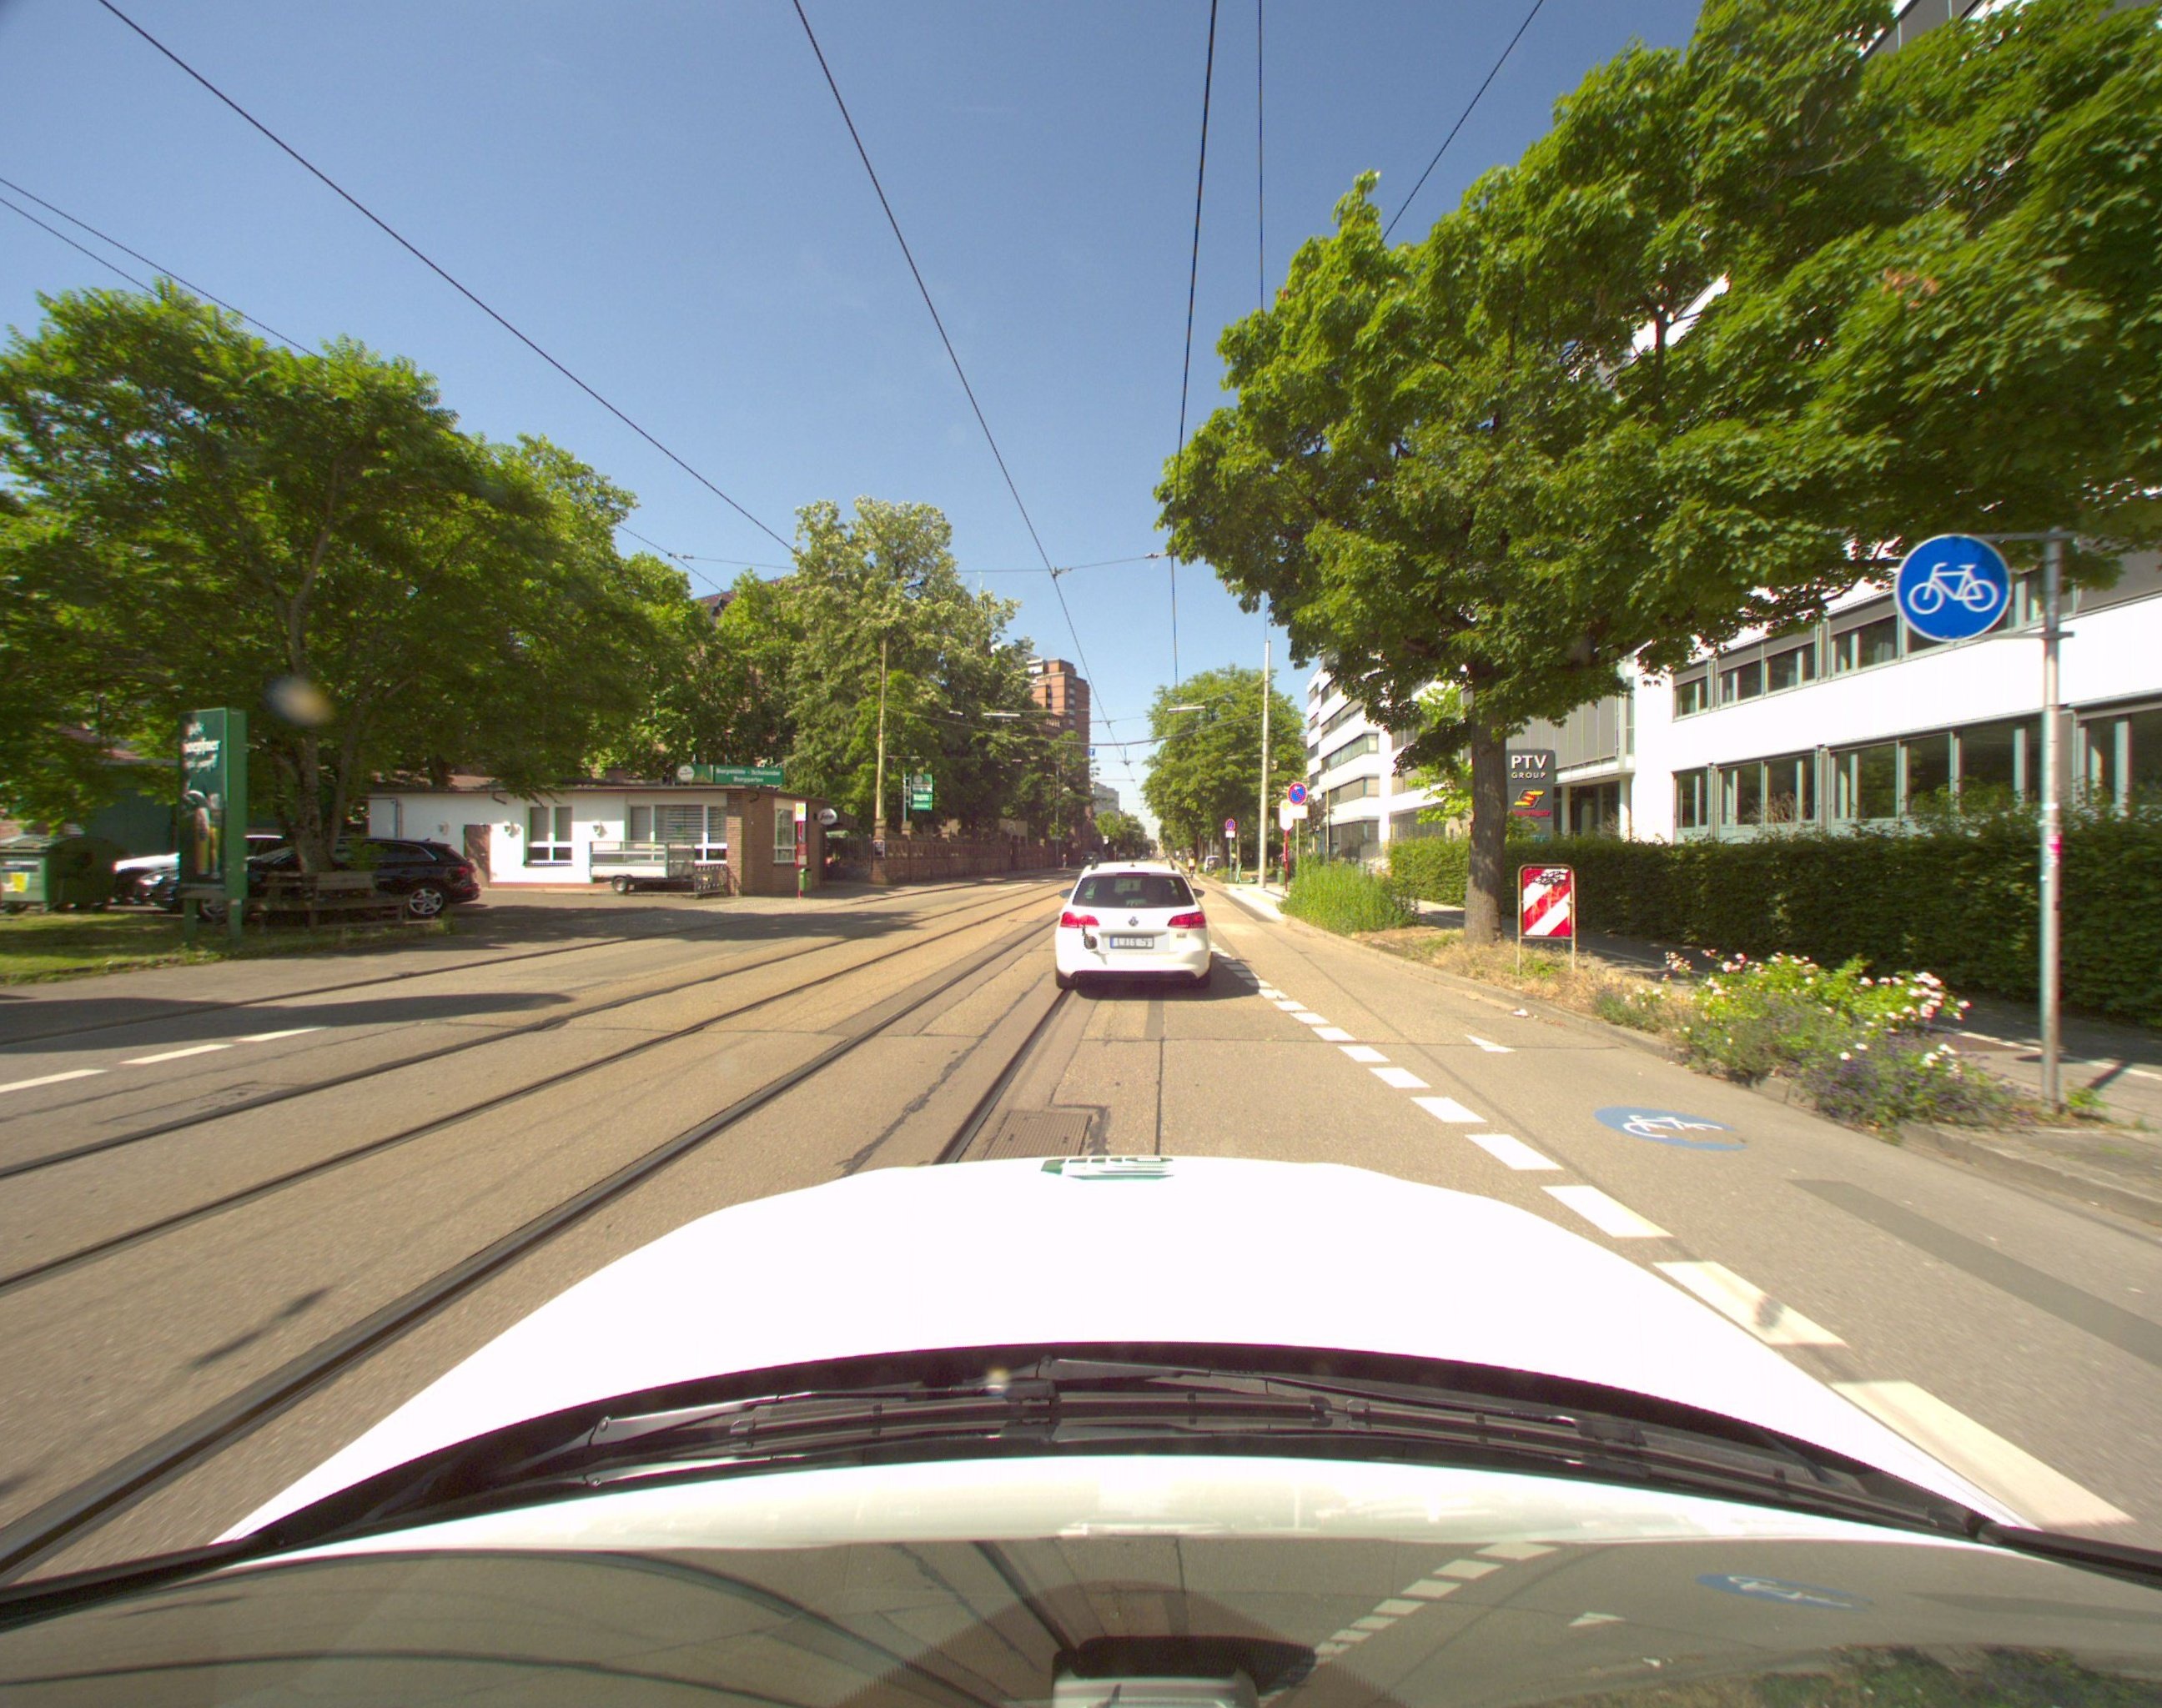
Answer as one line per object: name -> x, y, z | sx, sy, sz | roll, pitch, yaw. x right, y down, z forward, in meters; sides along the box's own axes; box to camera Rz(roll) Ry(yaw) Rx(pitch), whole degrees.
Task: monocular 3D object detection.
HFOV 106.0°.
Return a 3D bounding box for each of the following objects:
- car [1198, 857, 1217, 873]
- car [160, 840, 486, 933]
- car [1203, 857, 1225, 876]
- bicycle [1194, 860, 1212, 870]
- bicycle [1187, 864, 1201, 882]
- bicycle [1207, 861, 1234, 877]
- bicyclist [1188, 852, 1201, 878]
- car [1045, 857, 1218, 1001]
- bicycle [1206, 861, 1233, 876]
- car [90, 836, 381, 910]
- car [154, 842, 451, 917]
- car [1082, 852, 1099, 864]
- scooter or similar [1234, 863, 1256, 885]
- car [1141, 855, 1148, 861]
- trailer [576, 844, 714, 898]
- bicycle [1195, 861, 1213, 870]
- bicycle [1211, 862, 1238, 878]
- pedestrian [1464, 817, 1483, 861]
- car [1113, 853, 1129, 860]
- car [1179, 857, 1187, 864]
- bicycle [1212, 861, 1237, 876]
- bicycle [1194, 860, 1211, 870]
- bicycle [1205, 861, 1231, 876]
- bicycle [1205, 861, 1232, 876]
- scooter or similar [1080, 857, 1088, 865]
car -> 12.141, 1.037, 78.187 | 1.655, 1.444, 4.642 | 0, 0, 7
car -> -14.954, 0.578, 16.477 | 4.602, 1.625, 1.927 | 1, 0, -40
car -> 10.842, 1.011, 66.348 | 1.582, 1.451, 3.953 | 0, 0, 7
bicycle -> 12.770, 1.181, 85.060 | 1.781, 1.010, 0.488 | 0, -1, 1
bicycle -> 7.087, 1.187, 51.004 | 0.807, 1.078, 2.016 | 1, 0, 7
bicycle -> 10.327, 1.091, 60.464 | 1.903, 1.083, 0.551 | 2, 0, 3
bicyclist -> 7.093, 0.692, 50.950 | 0.782, 1.629, 0.739 | 0, -1, 6
car -> 0.701, 0.782, 10.541 | 1.745, 1.442, 4.418 | -1, 0, 5
bicycle -> 10.349, 1.086, 61.064 | 1.903, 1.083, 0.551 | 3, 0, 3
car -> -19.879, 0.415, 19.524 | 4.601, 1.583, 1.927 | 1, 0, -39
car -> -17.085, 0.515, 18.251 | 4.602, 1.467, 1.927 | 1, 0, -40
car -> 1.530, 0.605, 125.904 | 1.982, 1.757, 4.723 | 0, 0, 8
scooter or similar -> 8.589, 1.039, 42.579 | 1.135, 1.154, 0.494 | 1, 0, 11
car -> 15.909, 0.964, 203.958 | 1.485, 1.384, 3.649 | 0, 0, 7
trailer -> -13.143, 0.490, 24.641 | 3.198, 1.525, 1.781 | 1, 0, 7
bicycle -> 12.729, 1.193, 84.483 | 1.781, 1.010, 0.488 | 0, -1, 1
bicycle -> 9.750, 1.075, 55.492 | 1.766, 1.083, 0.597 | 0, 0, 3
pedestrian -> 15.640, -0.577, 32.444 | 0.496, 1.728, 0.547 | 1, -1, 5
car -> 10.776, 0.780, 219.269 | 4.012, 1.816, 1.981 | 0, 0, -30
car -> 20.853, 1.287, 166.421 | 1.704, 1.401, 3.851 | 0, 0, 8
bicycle -> 10.423, 1.066, 59.199 | 1.766, 1.120, 0.597 | 0, 0, 3
bicycle -> 12.783, 1.173, 85.646 | 1.781, 1.010, 0.488 | 0, -1, 1
bicycle -> 10.473, 1.112, 62.315 | 1.877, 1.083, 0.551 | 2, 0, 3
bicycle -> 10.391, 1.094, 61.677 | 1.903, 1.083, 0.551 | 3, 0, 3
scooter or similar -> 0.423, 0.976, 111.735 | 0.400, 1.155, 1.150 | -1, -1, 40
